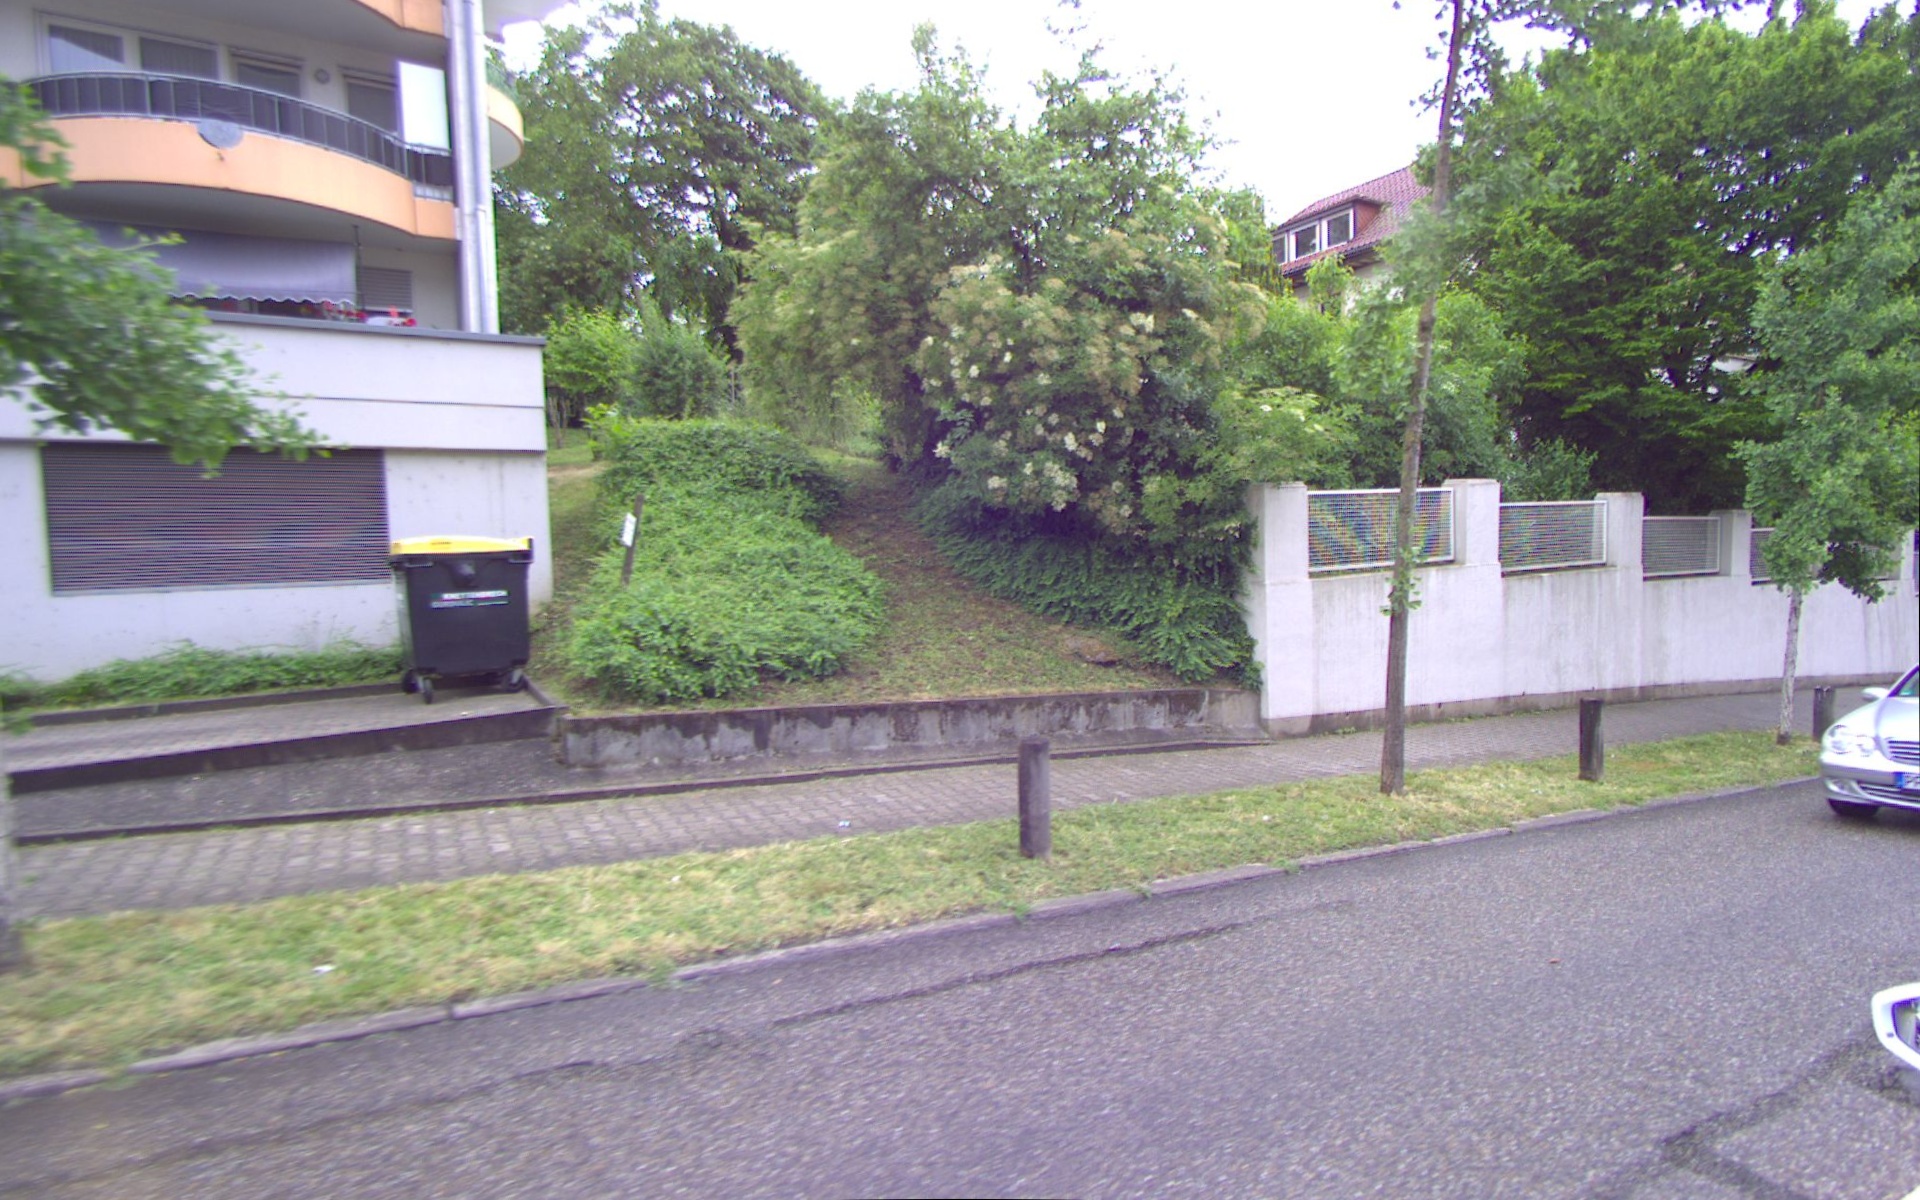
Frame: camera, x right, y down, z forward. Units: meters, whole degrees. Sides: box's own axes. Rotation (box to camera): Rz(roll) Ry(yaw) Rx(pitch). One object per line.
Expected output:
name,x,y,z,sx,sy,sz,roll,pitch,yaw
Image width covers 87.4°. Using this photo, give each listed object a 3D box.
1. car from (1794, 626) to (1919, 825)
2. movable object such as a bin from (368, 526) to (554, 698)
car,8.658,0.908,8.050,4.235,1.403,1.711,1,-2,-31
movable object such as a bin,-4.309,0.045,8.658,1.152,1.333,1.252,-4,5,-38
